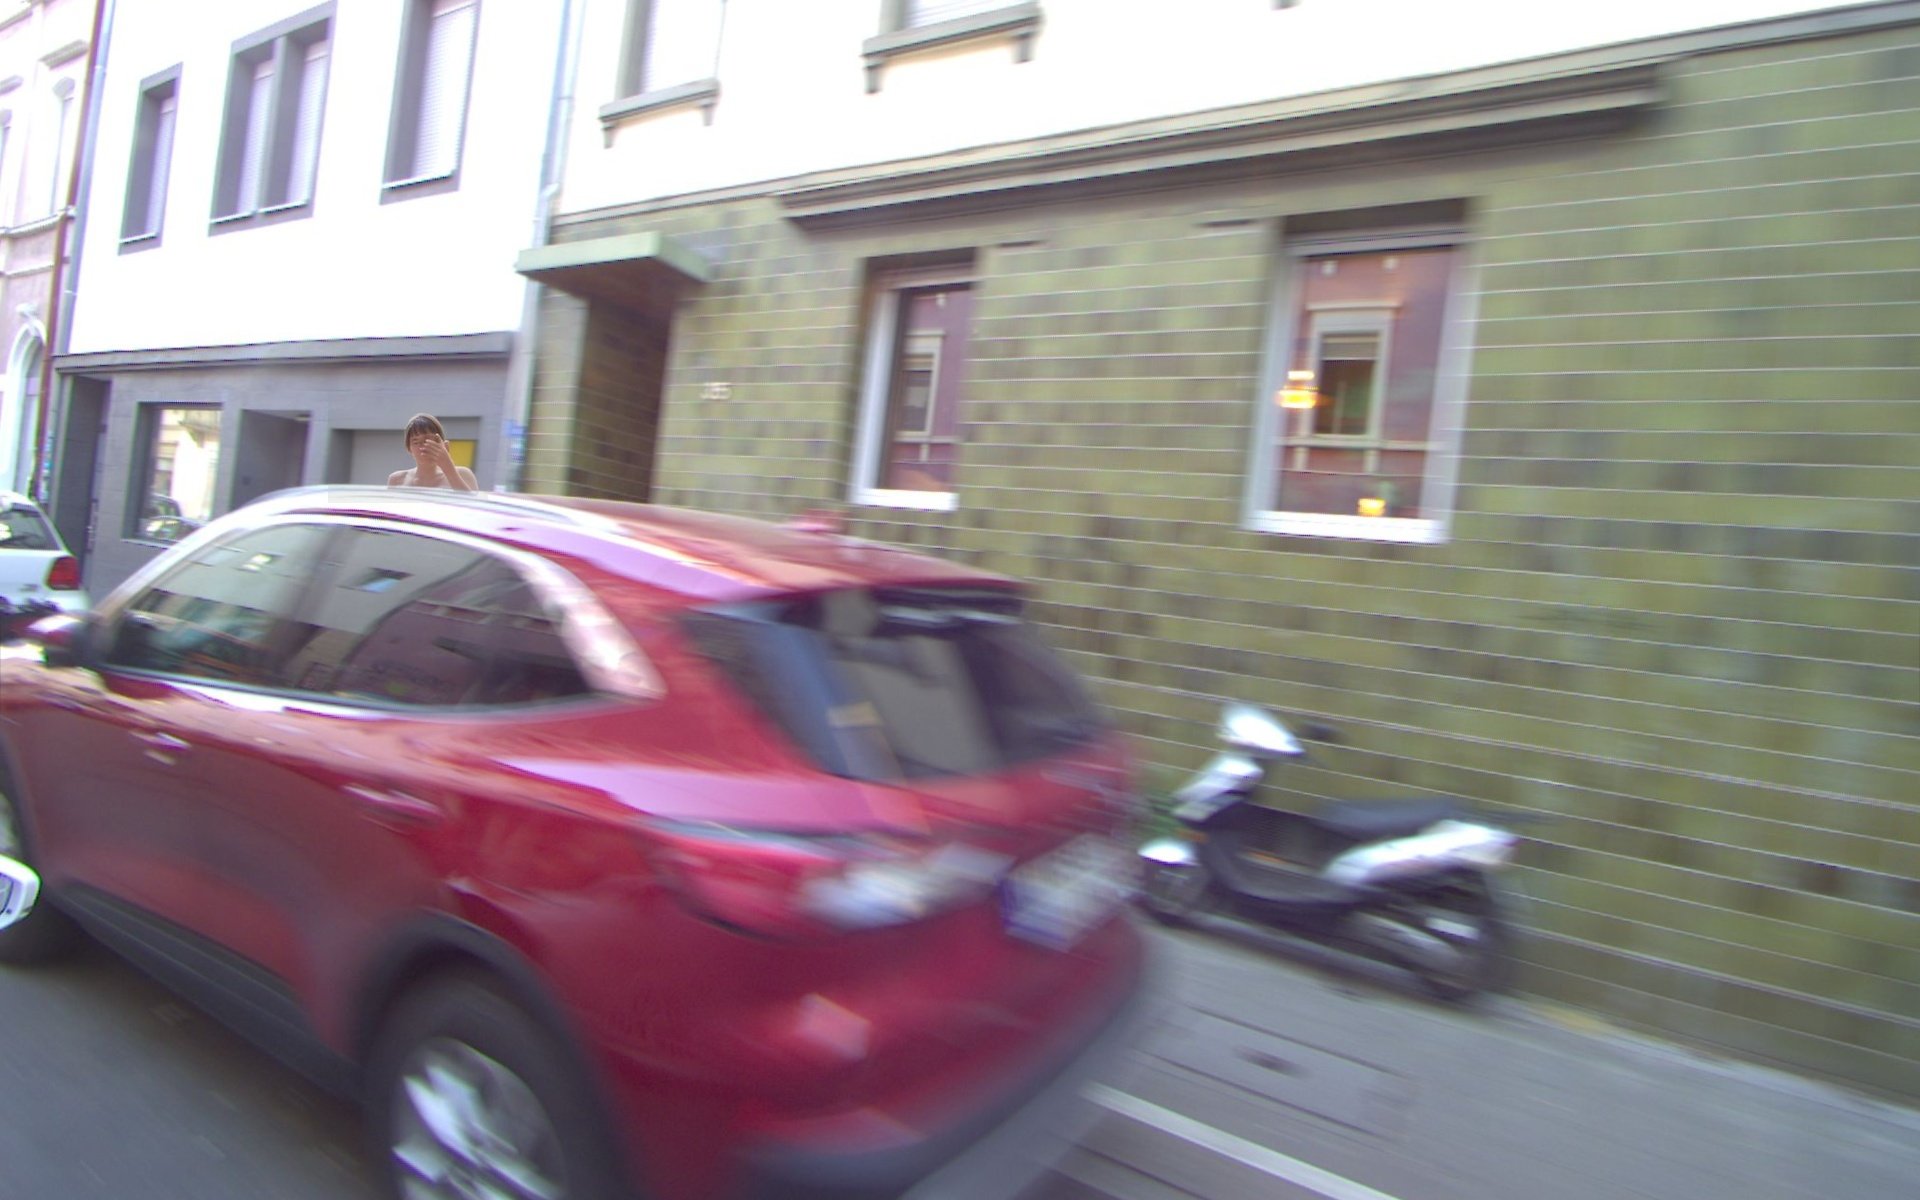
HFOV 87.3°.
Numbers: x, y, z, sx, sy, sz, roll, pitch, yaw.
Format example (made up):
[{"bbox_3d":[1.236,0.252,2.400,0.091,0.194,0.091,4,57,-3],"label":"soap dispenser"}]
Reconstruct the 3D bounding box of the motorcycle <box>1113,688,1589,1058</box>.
[{"bbox_3d":[1.637,1.063,4.375,1.746,1.109,0.558,6,2,31],"label":"motorcycle"}]

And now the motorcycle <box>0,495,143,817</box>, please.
[{"bbox_3d":[-5.433,0.172,5.405,2.382,1.507,0.748,6,-2,32],"label":"motorcycle"}]

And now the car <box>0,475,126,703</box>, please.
[{"bbox_3d":[-8.083,-0.245,7.580,3.754,1.525,1.667,6,2,33],"label":"car"}]

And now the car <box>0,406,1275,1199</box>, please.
[{"bbox_3d":[-1.479,0.471,3.258,4.293,1.726,1.921,7,-1,31],"label":"car"}]
